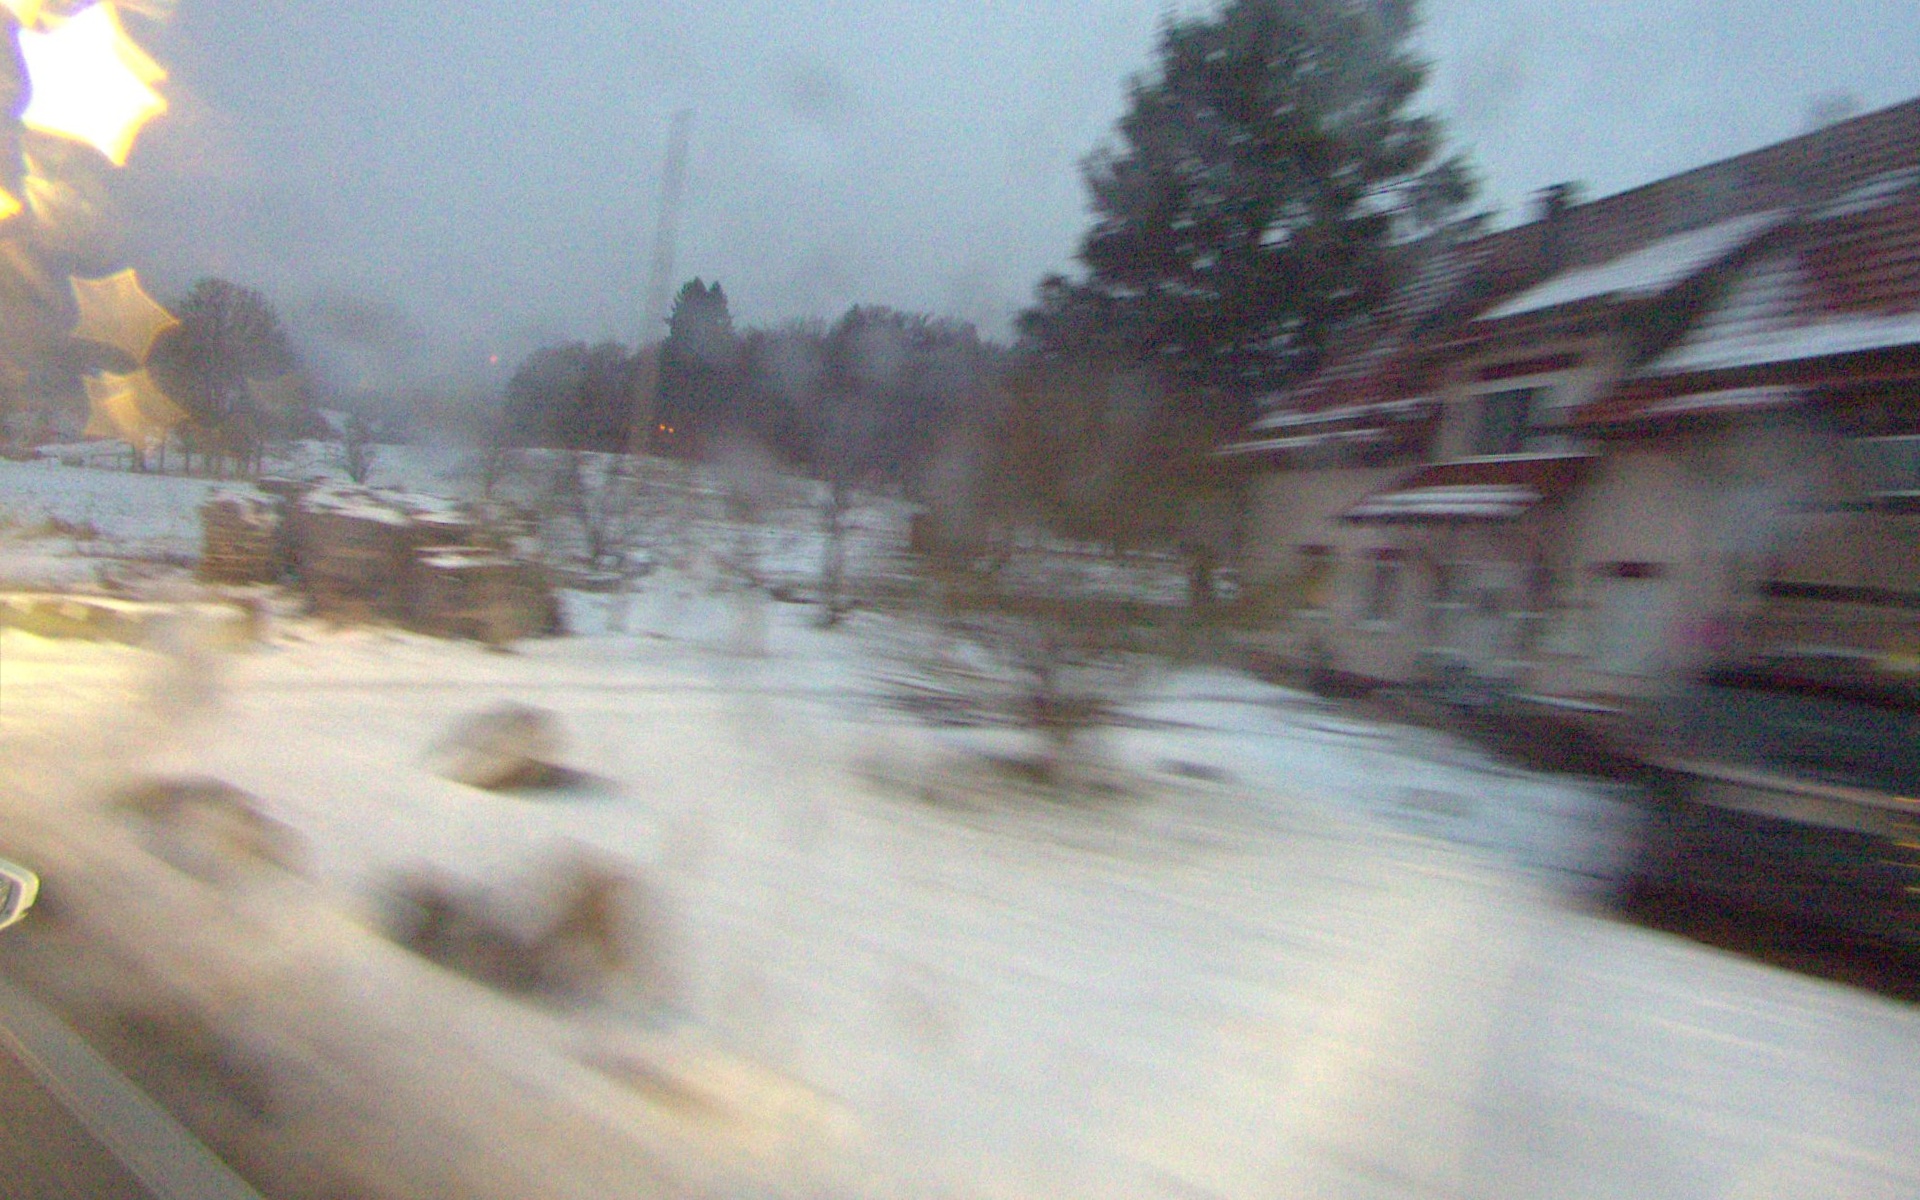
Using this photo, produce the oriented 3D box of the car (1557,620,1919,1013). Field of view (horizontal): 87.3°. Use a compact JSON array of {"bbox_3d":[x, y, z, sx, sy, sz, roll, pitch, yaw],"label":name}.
[{"bbox_3d":[5.590,1.146,6.834,1.834,1.680,4.387,10,4,39],"label":"car"}]
